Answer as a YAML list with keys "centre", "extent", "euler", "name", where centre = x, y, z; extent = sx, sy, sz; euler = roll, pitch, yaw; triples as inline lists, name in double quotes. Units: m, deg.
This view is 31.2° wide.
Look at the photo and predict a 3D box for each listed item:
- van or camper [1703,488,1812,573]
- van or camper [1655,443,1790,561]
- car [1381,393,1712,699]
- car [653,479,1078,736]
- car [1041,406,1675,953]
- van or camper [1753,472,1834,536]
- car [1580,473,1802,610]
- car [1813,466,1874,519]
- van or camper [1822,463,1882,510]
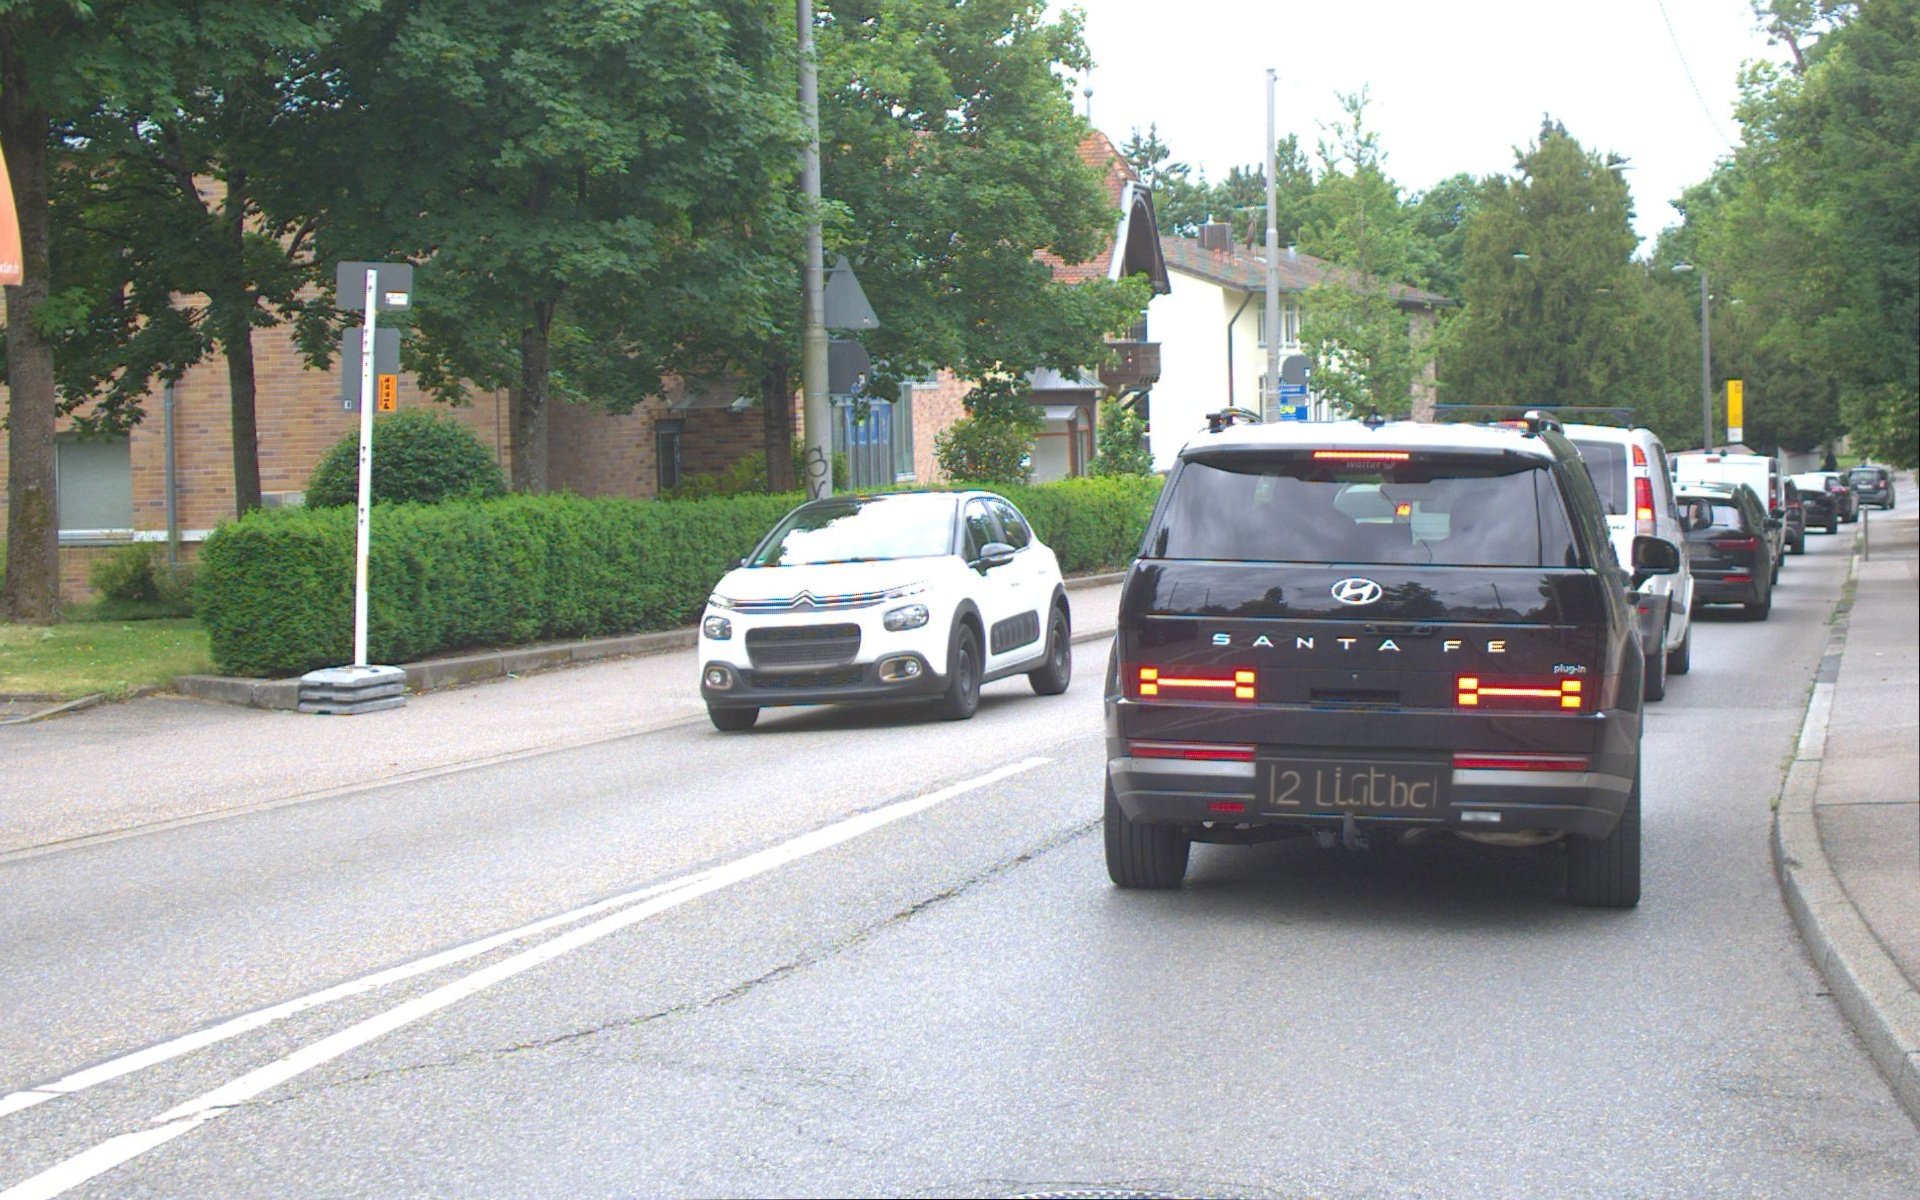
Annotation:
- centre: [16.785, -1.487, 72.531]
  extent: [1.994, 1.622, 3.999]
  euler: [-2, 2, 11]
  name: "van or camper"
- centre: [13.136, -1.707, 59.109]
  extent: [1.995, 1.881, 3.998]
  euler: [-2, 2, 16]
  name: "van or camper"
- centre: [4.325, -0.470, 24.822]
  extent: [1.958, 1.949, 4.221]
  euler: [-1, 3, 15]
  name: "car"
- centre: [-0.525, -0.010, 22.678]
  extent: [1.696, 1.435, 3.755]
  euler: [-4, 1, 15]
  name: "car"
- centre: [1.701, 0.149, 13.258]
  extent: [1.958, 1.707, 4.221]
  euler: [2, 3, 12]
  name: "car"
- centre: [23.158, -2.682, 95.469]
  extent: [1.995, 1.646, 3.997]
  euler: [-2, 2, 16]
  name: "van or camper"
- centre: [8.180, -0.677, 38.245]
  extent: [1.995, 1.399, 3.997]
  euler: [-1, 2, 18]
  name: "car"
- centre: [28.492, -3.456, 110.846]
  extent: [1.646, 1.555, 3.647]
  euler: [0, 0, 18]
  name: "car"
- centre: [32.730, -4.174, 126.151]
  extent: [1.995, 1.646, 3.997]
  euler: [-2, 2, 16]
  name: "van or camper"
